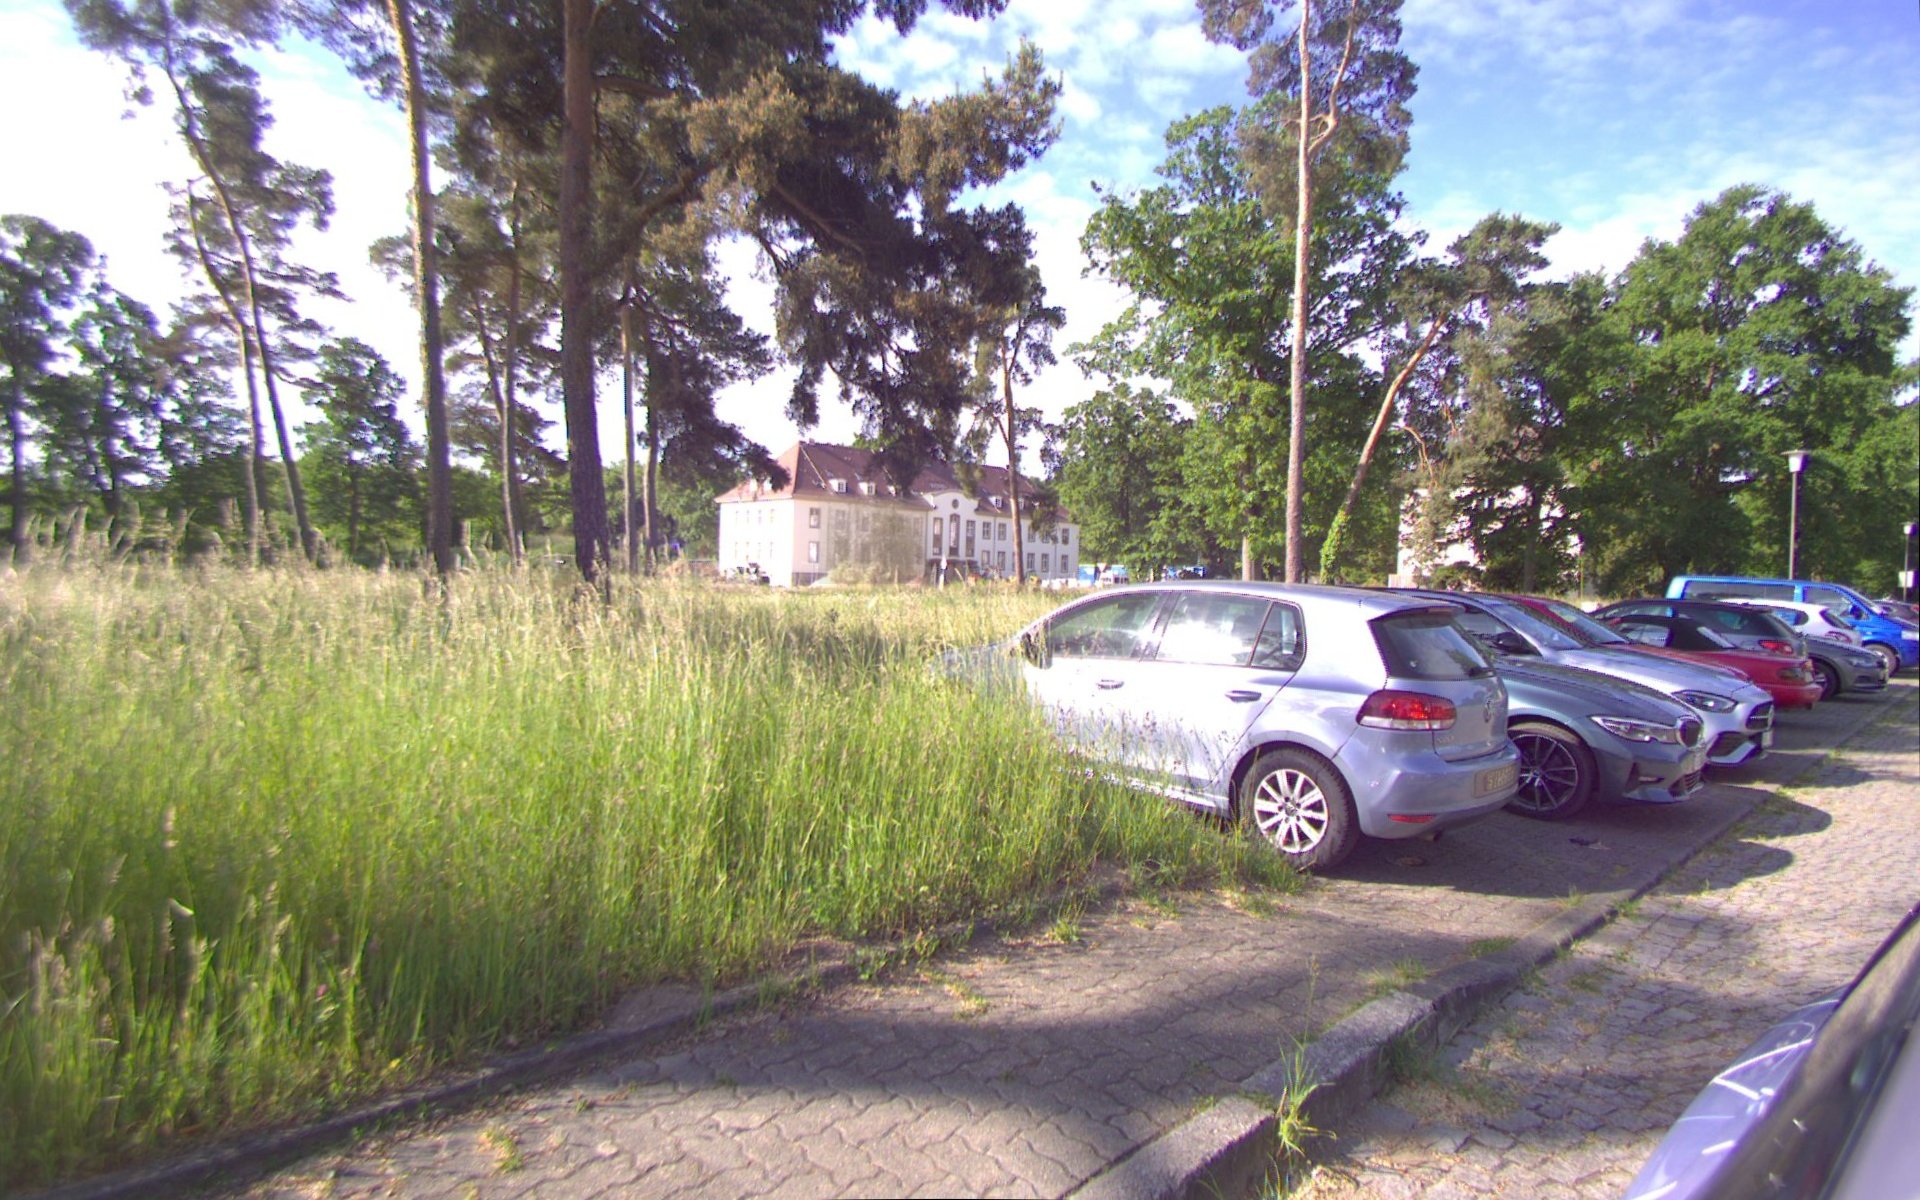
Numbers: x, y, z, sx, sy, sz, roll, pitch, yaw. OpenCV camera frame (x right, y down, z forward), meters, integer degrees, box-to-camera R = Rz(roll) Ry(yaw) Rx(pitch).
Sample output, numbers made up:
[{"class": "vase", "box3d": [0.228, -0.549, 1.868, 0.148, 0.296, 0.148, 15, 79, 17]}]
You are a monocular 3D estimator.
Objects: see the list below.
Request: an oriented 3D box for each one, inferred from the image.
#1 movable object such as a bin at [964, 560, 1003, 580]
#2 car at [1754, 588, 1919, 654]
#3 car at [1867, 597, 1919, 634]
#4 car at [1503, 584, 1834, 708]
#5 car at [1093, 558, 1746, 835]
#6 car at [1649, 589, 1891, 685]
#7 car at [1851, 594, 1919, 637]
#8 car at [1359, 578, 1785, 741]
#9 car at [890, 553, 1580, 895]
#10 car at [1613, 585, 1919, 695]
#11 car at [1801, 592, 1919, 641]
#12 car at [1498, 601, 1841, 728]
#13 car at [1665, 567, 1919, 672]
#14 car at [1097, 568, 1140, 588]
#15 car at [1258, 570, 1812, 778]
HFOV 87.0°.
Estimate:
[{"class": "movable object such as a bin", "box3d": [2.946, -3.693, 124.894, 1.994, 2.351, 4.907, 3, 2, 44]}, {"class": "car", "box3d": [25.077, 0.545, 28.490, 1.725, 1.660, 3.997, 0, 2, -39]}, {"class": "car", "box3d": [43.518, 0.674, 45.359, 1.724, 1.635, 3.997, -1, 0, -37]}, {"class": "car", "box3d": [10.415, 0.578, 15.082, 1.523, 1.509, 3.775, 0, 2, -42]}, {"class": "car", "box3d": [3.455, 0.514, 8.302, 1.796, 1.535, 4.498, 0, 3, -45]}, {"class": "car", "box3d": [14.904, 0.611, 18.742, 1.423, 1.509, 3.264, 0, 2, -39]}, {"class": "car", "box3d": [39.936, 0.624, 42.170, 1.725, 1.763, 3.996, 0, 0, -39]}, {"class": "car", "box3d": [6.938, 0.543, 11.788, 1.633, 1.410, 3.914, 0, 3, -42]}, {"class": "car", "box3d": [1.514, 0.493, 6.688, 1.839, 1.478, 4.022, 0, 3, -42]}, {"class": "car", "box3d": [13.061, 0.562, 16.596, 1.478, 1.509, 3.630, 1, 2, -32]}, {"class": "car", "box3d": [32.377, 0.560, 35.607, 1.725, 1.537, 3.997, 0, 2, -39]}, {"class": "car", "box3d": [8.925, 0.713, 12.919, 1.396, 1.271, 3.353, 0, 2, -42]}, {"class": "car", "box3d": [18.720, 0.340, 22.425, 1.965, 2.038, 4.725, 0, 2, -40]}, {"class": "car", "box3d": [16.922, -2.299, 107.824, 4.690, 2.038, 1.997, 0, 2, -42]}, {"class": "car", "box3d": [5.445, 0.528, 10.076, 1.795, 1.419, 4.419, 0, 4, -43]}]
